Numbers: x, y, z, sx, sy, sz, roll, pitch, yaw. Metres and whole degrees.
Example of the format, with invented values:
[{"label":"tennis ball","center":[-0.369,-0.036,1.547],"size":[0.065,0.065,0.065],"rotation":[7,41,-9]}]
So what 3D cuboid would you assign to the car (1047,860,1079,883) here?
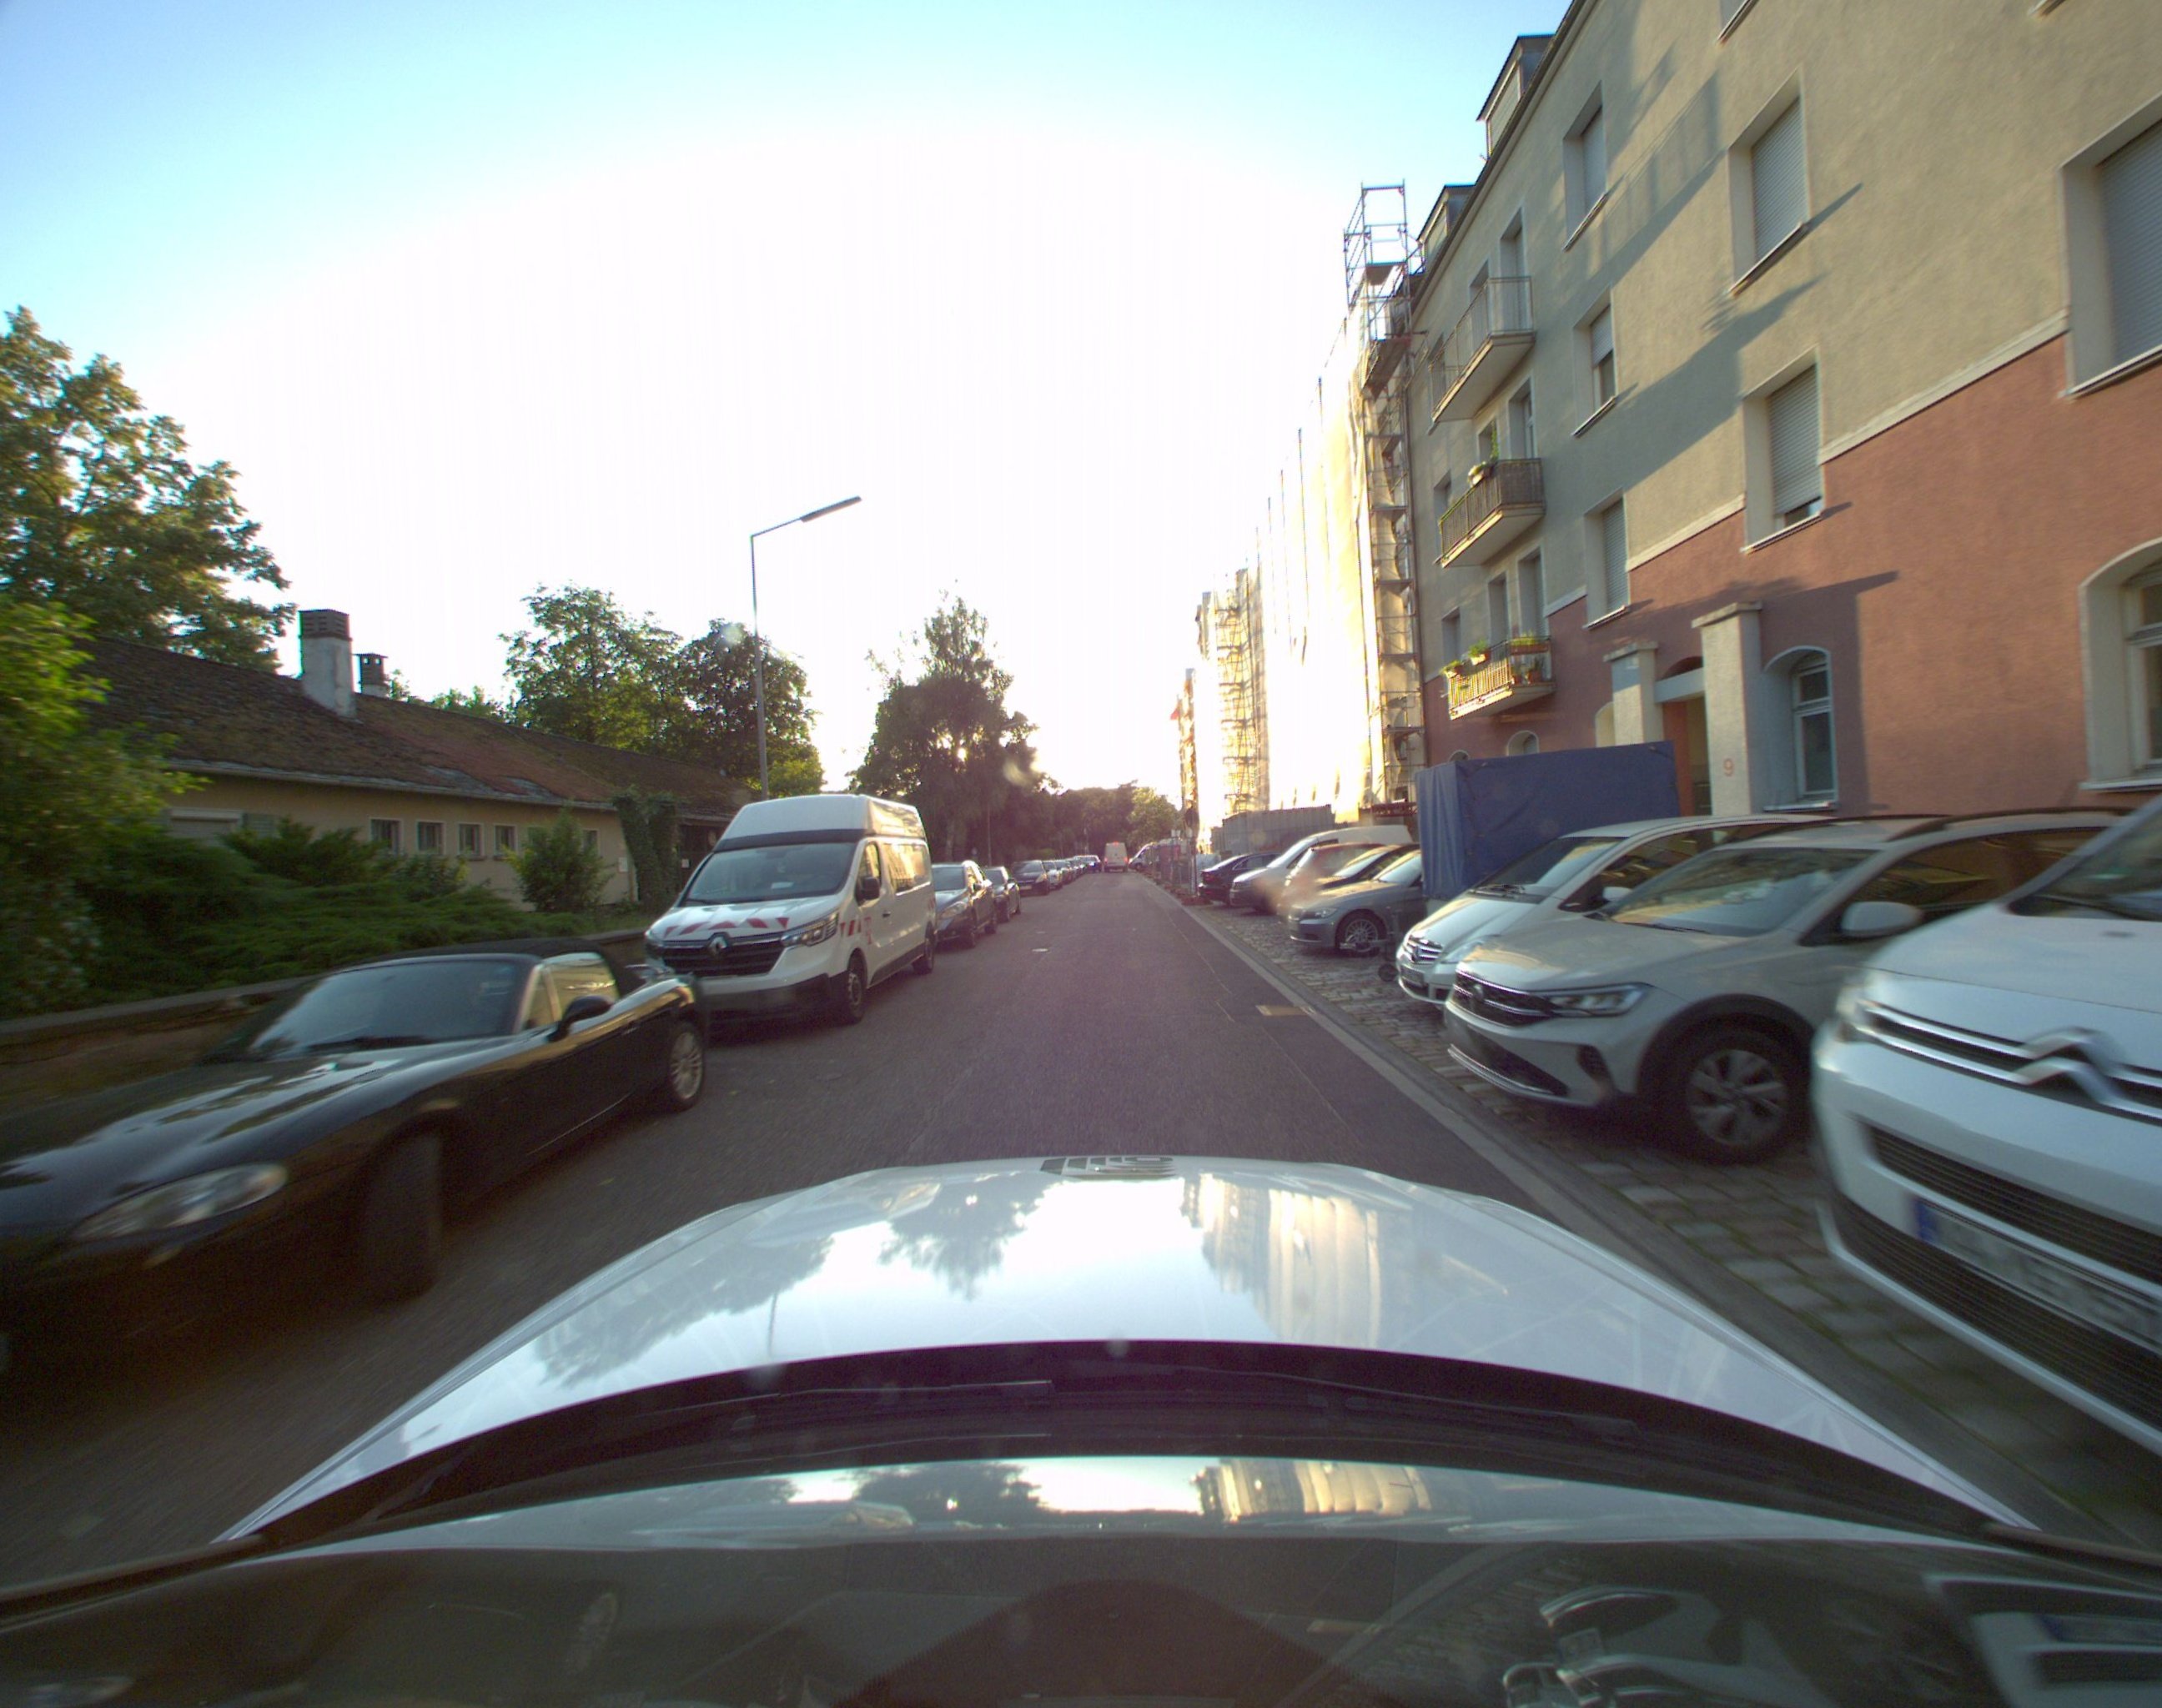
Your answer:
[{"label":"car","center":[-1.143,1.117,53.454],"size":[1.652,1.313,4.157],"rotation":[-4,0,3]}]

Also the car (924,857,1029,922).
[{"label":"car","center":[-2.645,0.856,21.612],"size":[1.985,1.453,4.291],"rotation":[-2,0,3]}]

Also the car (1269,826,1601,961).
[{"label":"car","center":[4.980,0.527,11.887],"size":[3.975,1.638,1.902],"rotation":[-3,0,-1]}]

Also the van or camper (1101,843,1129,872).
[{"label":"van or camper","center":[3.104,0.285,74.482],"size":[2.444,2.547,6.087],"rotation":[-1,0,3]}]

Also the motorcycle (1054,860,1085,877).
[{"label":"motorcycle","center":[-0.882,1.110,62.429],"size":[2.147,1.303,0.884],"rotation":[-2,-1,16]}]

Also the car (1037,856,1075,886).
[{"label":"car","center":[-1.416,0.972,48.170],"size":[1.853,1.538,4.760],"rotation":[-4,0,2]}]

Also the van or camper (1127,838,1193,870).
[{"label":"van or camper","center":[7.346,0.010,76.248],"size":[5.907,2.770,2.110],"rotation":[-1,-1,1]}]

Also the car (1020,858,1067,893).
[{"label":"car","center":[-1.747,0.999,39.573],"size":[1.776,1.445,4.750],"rotation":[-5,0,2]}]

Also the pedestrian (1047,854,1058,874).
[{"label":"pedestrian","center":[-2.719,0.943,77.162],"size":[0.934,1.830,0.787],"rotation":[-1,-1,1]}]

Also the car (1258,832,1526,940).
[{"label":"car","center":[5.281,0.519,14.185],"size":[3.952,1.572,1.788],"rotation":[-3,0,-1]}]

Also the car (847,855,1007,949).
[{"label":"car","center":[-2.807,0.811,16.117],"size":[1.985,1.519,4.792],"rotation":[-2,0,3]}]

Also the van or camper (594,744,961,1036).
[{"label":"van or camper","center":[-3.098,0.308,10.123],"size":[1.986,2.457,6.086],"rotation":[-3,0,2]}]

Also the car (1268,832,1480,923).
[{"label":"car","center":[5.902,0.458,16.719],"size":[3.680,1.610,1.745],"rotation":[-3,0,0]}]

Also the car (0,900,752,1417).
[{"label":"car","center":[-3.473,0.981,4.241],"size":[1.989,1.189,4.032],"rotation":[-2,0,-3]}]

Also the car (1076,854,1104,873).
[{"label":"car","center":[0.870,0.865,75.530],"size":[1.793,1.569,4.577],"rotation":[-3,0,10]}]

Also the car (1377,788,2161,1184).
[{"label":"car","center":[4.056,0.571,4.641],"size":[3.974,1.640,2.000],"rotation":[-3,-1,0]}]

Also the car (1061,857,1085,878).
[{"label":"car","center":[-0.605,1.040,65.618],"size":[1.709,1.496,4.361],"rotation":[-4,0,1]}]

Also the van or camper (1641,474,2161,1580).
[{"label":"van or camper","center":[4.450,0.241,1.898],"size":[4.816,2.096,2.041],"rotation":[-3,0,1]}]

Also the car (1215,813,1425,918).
[{"label":"car","center":[5.546,0.233,19.168],"size":[4.260,1.979,1.818],"rotation":[-5,1,-6]}]

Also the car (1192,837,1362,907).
[{"label":"car","center":[5.160,0.471,21.886],"size":[4.135,1.615,1.873],"rotation":[-3,0,3]}]

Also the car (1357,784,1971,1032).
[{"label":"car","center":[4.815,0.432,7.262],"size":[3.974,1.728,2.000],"rotation":[-3,-1,0]}]

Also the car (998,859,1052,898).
[{"label":"car","center":[-2.275,0.980,34.079],"size":[1.987,1.453,3.999],"rotation":[-2,0,-1]}]

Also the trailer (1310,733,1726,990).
[{"label":"trailer","center":[4.742,0.072,9.280],"size":[3.557,2.336,1.940],"rotation":[-5,0,-1]}]

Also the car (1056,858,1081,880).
[{"label":"car","center":[-0.878,1.089,59.212],"size":[1.595,1.431,3.804],"rotation":[-5,0,1]}]
